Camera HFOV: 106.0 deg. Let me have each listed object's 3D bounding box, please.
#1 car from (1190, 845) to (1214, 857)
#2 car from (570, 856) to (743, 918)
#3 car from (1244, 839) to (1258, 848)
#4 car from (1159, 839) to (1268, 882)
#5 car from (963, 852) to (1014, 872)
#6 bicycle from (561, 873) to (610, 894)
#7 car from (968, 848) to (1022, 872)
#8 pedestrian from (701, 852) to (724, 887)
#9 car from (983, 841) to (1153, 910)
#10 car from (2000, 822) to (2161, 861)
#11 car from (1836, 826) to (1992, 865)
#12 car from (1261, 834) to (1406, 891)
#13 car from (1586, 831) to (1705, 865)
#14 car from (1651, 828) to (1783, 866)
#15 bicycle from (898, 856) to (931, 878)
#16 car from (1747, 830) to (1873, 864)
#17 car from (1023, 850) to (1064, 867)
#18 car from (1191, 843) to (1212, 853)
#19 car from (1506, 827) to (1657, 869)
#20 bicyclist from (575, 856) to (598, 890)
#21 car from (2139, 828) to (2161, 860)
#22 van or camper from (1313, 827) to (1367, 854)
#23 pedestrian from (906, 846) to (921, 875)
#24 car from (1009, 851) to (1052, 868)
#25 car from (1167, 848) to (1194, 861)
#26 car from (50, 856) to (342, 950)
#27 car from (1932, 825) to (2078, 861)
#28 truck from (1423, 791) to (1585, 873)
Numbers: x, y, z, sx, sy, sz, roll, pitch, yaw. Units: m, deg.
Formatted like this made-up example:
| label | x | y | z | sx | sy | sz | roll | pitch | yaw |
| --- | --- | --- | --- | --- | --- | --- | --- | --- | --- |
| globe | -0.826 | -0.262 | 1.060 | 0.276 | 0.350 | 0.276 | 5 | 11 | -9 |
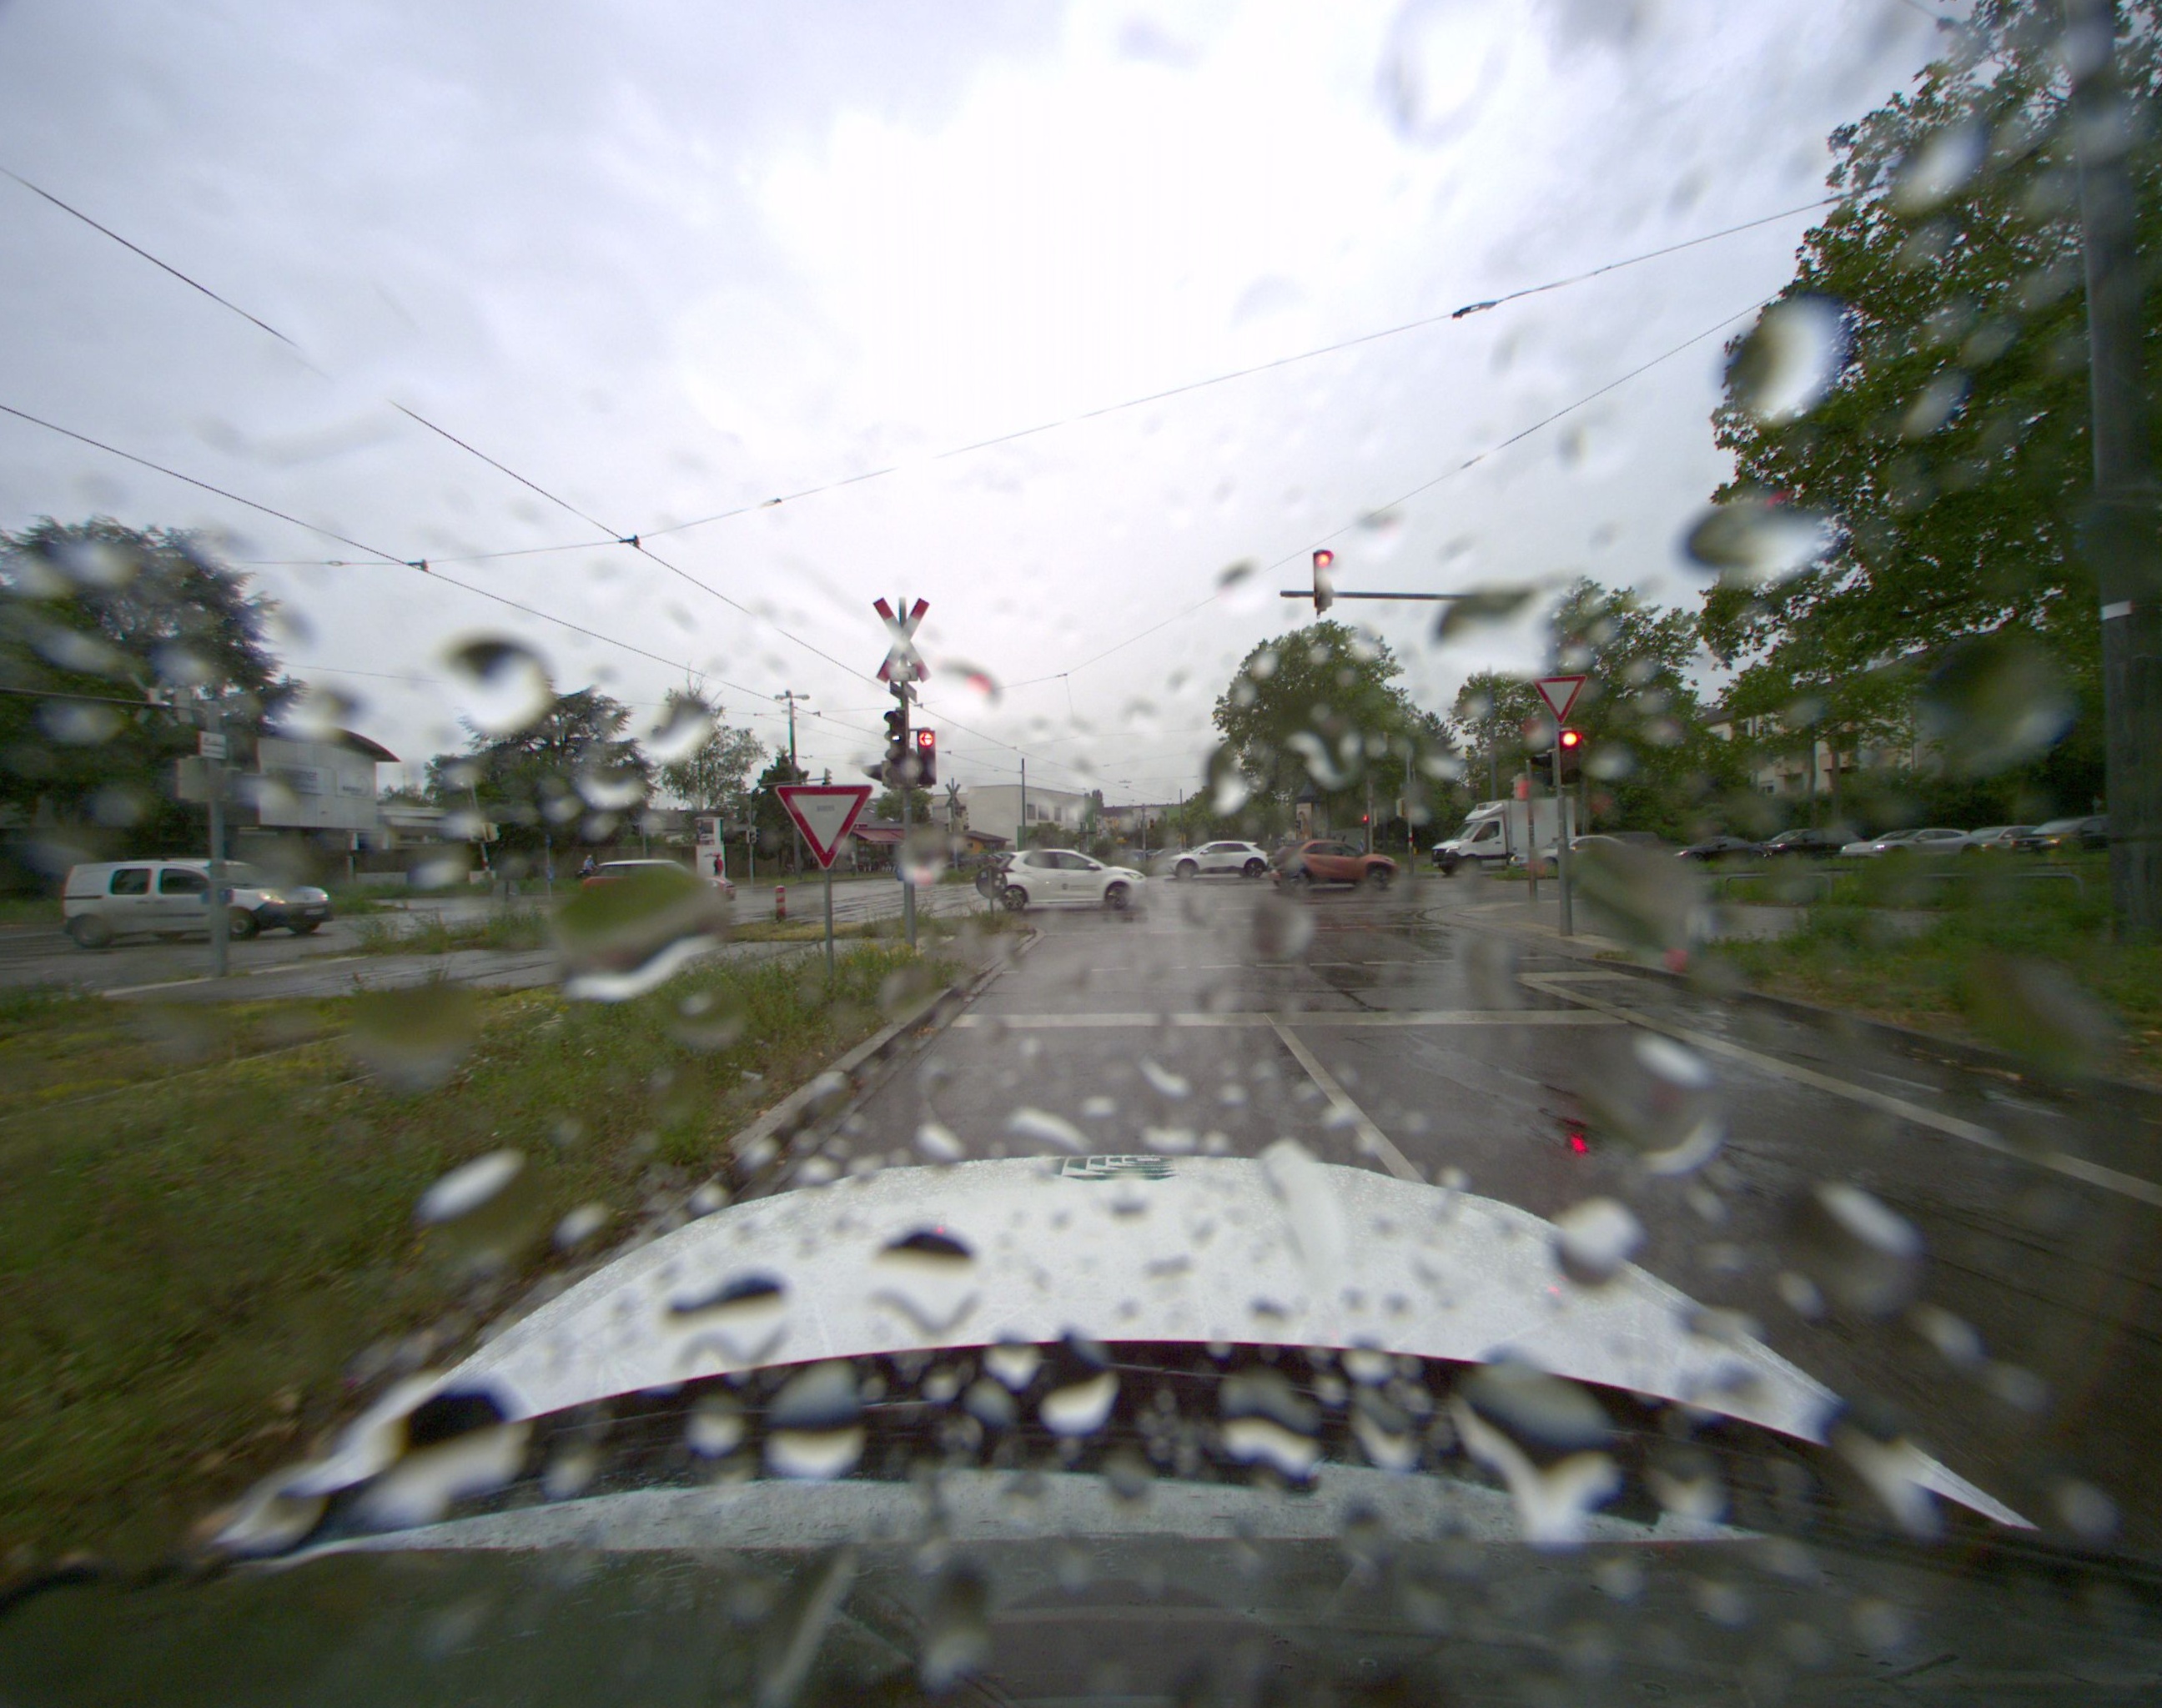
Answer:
| label | x | y | z | sx | sy | sz | roll | pitch | yaw |
| --- | --- | --- | --- | --- | --- | --- | --- | --- | --- |
| car | 21.825 | -0.491 | 147.212 | 4.112 | 1.975 | 1.677 | -2 | 0 | 8 |
| car | -11.741 | 0.882 | 22.752 | 3.905 | 1.498 | 1.648 | -2 | 1 | -8 |
| car | 44.669 | -2.787 | 214.149 | 3.416 | 2.013 | 1.816 | -2 | 0 | 18 |
| car | 5.817 | 0.286 | 36.040 | 4.453 | 1.656 | 1.649 | -2 | 0 | -5 |
| car | -7.338 | 0.639 | 64.827 | 3.733 | 1.442 | 1.765 | -2 | 0 | 4 |
| bicycle | -24.850 | 1.462 | 40.863 | 1.954 | 0.967 | 0.641 | -2 | 0 | -3 |
| car | -7.189 | 0.479 | 68.283 | 4.112 | 1.860 | 1.677 | -2 | 0 | 8 |
| pedestrian | -19.365 | 0.803 | 42.801 | 0.807 | 1.763 | 0.898 | -2 | 0 | -43 |
| car | -0.362 | 0.514 | 20.520 | 4.059 | 1.499 | 1.649 | -2 | 0 | -5 |
| car | 40.823 | -0.503 | 33.253 | 4.647 | 1.422 | 1.765 | -2 | 0 | -1 |
| car | 34.018 | -0.324 | 33.331 | 4.647 | 1.422 | 1.765 | -2 | 0 | -1 |
| car | 7.568 | 0.250 | 24.608 | 3.811 | 1.499 | 1.649 | -2 | 0 | -5 |
| car | 25.513 | -0.268 | 36.905 | 4.187 | 1.422 | 1.765 | -2 | 0 | 0 |
| car | 25.714 | -0.265 | 33.002 | 4.098 | 1.390 | 1.644 | -2 | 0 | -1 |
| bicycle | -8.750 | 0.682 | 42.742 | 1.553 | 1.101 | 0.501 | -2 | 0 | 6 |
| car | 33.016 | -0.307 | 36.955 | 4.109 | 1.422 | 1.765 | -2 | 0 | -1 |
| car | -3.580 | 0.448 | 76.461 | 3.744 | 1.442 | 1.759 | -2 | 0 | -5 |
| car | 25.634 | -1.347 | 173.124 | 3.957 | 2.014 | 1.842 | -2 | -1 | 15 |
| car | 18.261 | -0.209 | 29.830 | 4.499 | 1.390 | 1.644 | -2 | 0 | -1 |
| bicyclist | -24.814 | 0.953 | 40.879 | 0.682 | 1.683 | 0.641 | -2 | 0 | -3 |
| car | 51.929 | -0.523 | 37.357 | 4.648 | 1.422 | 1.764 | -2 | 0 | -2 |
| van or camper | 26.150 | -1.376 | 82.198 | 5.177 | 2.697 | 2.254 | 0 | 1 | 19 |
| pedestrian | -8.803 | 0.350 | 42.752 | 0.572 | 1.475 | 0.501 | -2 | 0 | 7 |
| car | -4.538 | 0.489 | 73.191 | 3.744 | 1.442 | 1.759 | -2 | 0 | -5 |
| car | 15.801 | 0.118 | 129.469 | 4.126 | 1.860 | 1.671 | -2 | 0 | -3 |
| car | -19.264 | 1.014 | 17.910 | 4.205 | 1.796 | 1.648 | -2 | 1 | -7 |
| car | 41.576 | -0.480 | 36.709 | 4.648 | 1.422 | 1.764 | -2 | 0 | -2 |
| truck | 17.007 | -0.866 | 32.928 | 5.452 | 3.058 | 1.980 | -2 | 0 | -1 |
